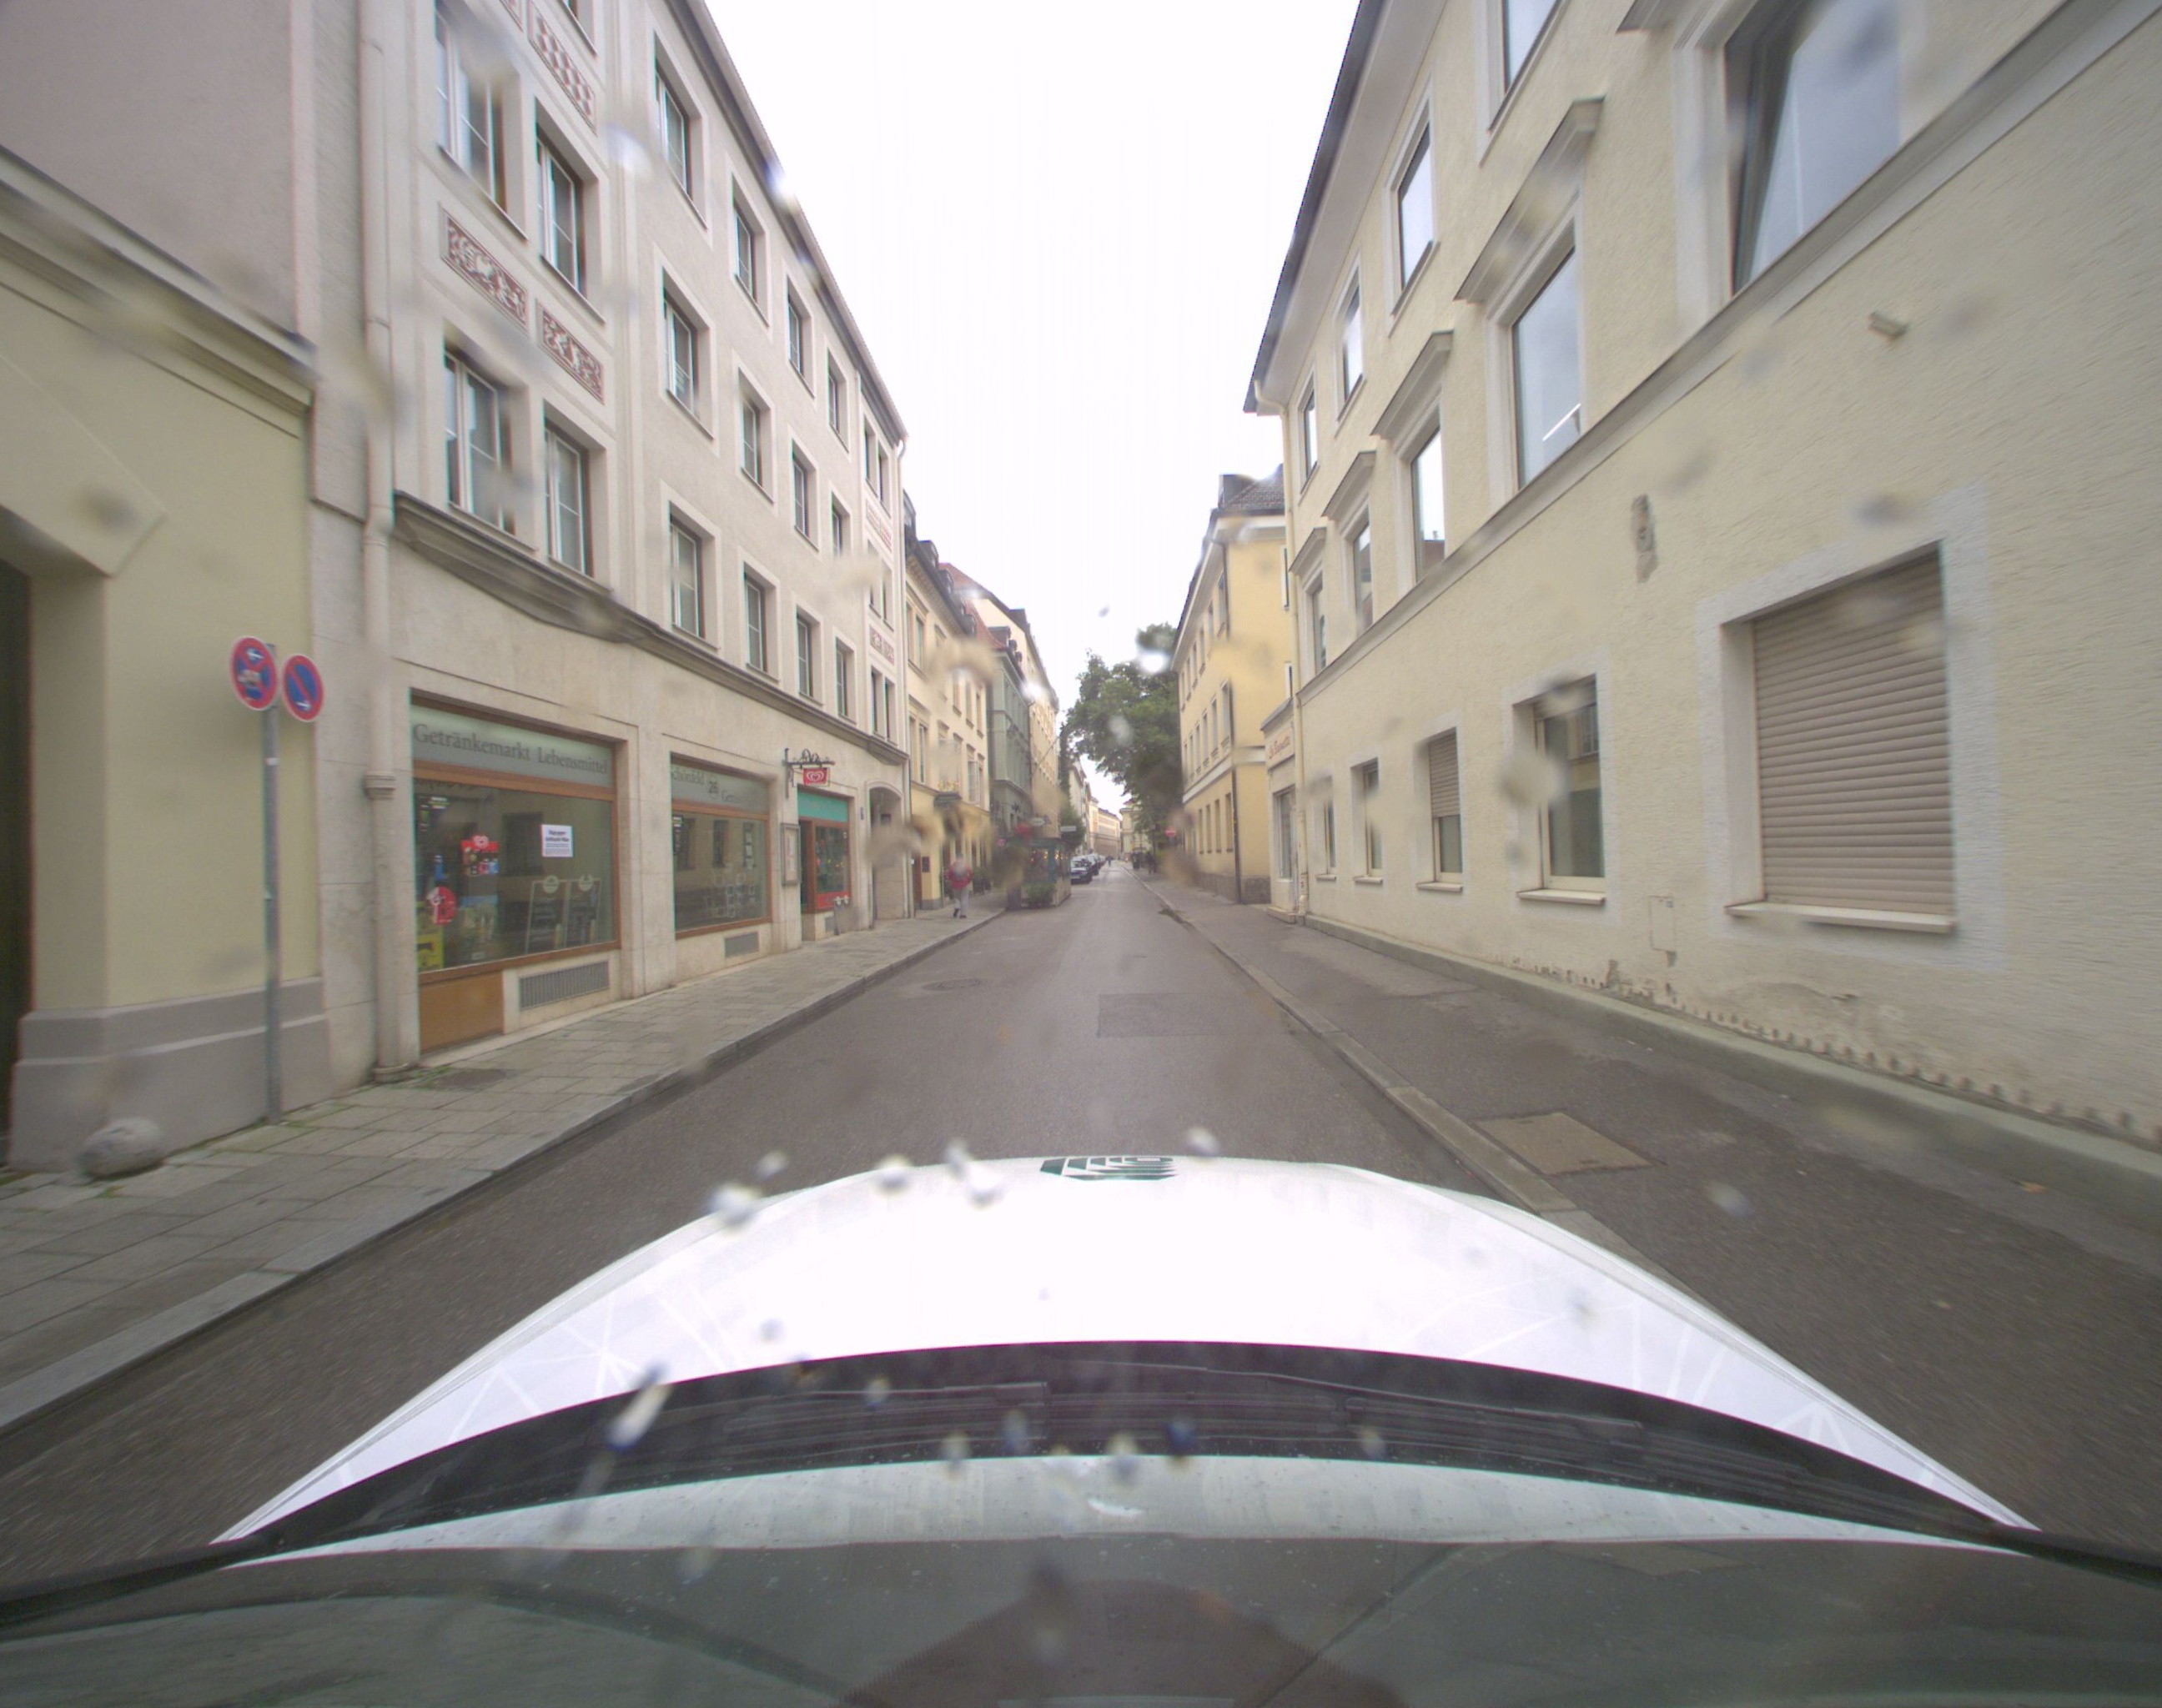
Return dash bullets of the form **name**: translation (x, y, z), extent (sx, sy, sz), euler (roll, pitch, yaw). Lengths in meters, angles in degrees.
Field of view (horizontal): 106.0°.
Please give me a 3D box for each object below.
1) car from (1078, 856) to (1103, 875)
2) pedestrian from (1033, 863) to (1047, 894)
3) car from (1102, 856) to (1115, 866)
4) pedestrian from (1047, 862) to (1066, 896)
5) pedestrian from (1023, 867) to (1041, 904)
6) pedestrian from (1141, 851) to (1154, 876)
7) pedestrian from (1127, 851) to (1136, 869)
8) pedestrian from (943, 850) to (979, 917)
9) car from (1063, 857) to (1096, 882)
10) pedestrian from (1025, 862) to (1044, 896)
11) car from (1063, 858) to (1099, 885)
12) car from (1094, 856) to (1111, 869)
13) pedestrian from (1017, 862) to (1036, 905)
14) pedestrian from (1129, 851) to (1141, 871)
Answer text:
- **car**: translation (0.781, 0.947, 66.789), extent (1.771, 1.466, 3.547), euler (-1, 0, 5)
- **pedestrian**: translation (-1.677, 0.990, 32.996), extent (0.508, 1.237, 0.630), euler (-1, 0, 0)
- **car**: translation (4.107, 0.976, 120.551), extent (1.771, 1.466, 3.547), euler (-1, 0, 5)
- **pedestrian**: translation (-0.962, 0.967, 31.831), extent (0.671, 1.326, 0.696), euler (-1, 0, 0)
- **pedestrian**: translation (-1.604, 1.031, 26.673), extent (0.508, 1.187, 0.630), euler (-1, 0, 0)
- **pedestrian**: translation (4.850, 0.671, 59.750), extent (0.877, 1.802, 1.047), euler (-1, 0, 3)
- **pedestrian**: translation (4.983, 0.572, 80.312), extent (0.790, 1.802, 0.904), euler (-1, 0, 3)
- **pedestrian**: translation (-3.168, 0.774, 21.595), extent (0.763, 1.708, 0.785), euler (-2, 0, 0)
- **car**: translation (-0.032, 0.974, 51.841), extent (1.771, 1.466, 3.547), euler (-1, 0, 5)
- **pedestrian**: translation (-1.828, 0.981, 32.000), extent (0.671, 1.326, 0.696), euler (-1, 0, 0)
- **car**: translation (0.041, 0.987, 47.171), extent (1.771, 1.466, 3.668), euler (-1, 0, 5)
- **car**: translation (2.555, 0.986, 96.494), extent (1.771, 1.466, 3.547), euler (-1, 0, 5)
- **pedestrian**: translation (-1.719, 0.931, 25.677), extent (0.508, 1.326, 0.630), euler (-1, 0, 0)
- **pedestrian**: translation (4.976, 0.629, 75.106), extent (1.011, 1.802, 1.350), euler (-1, 0, 3)
